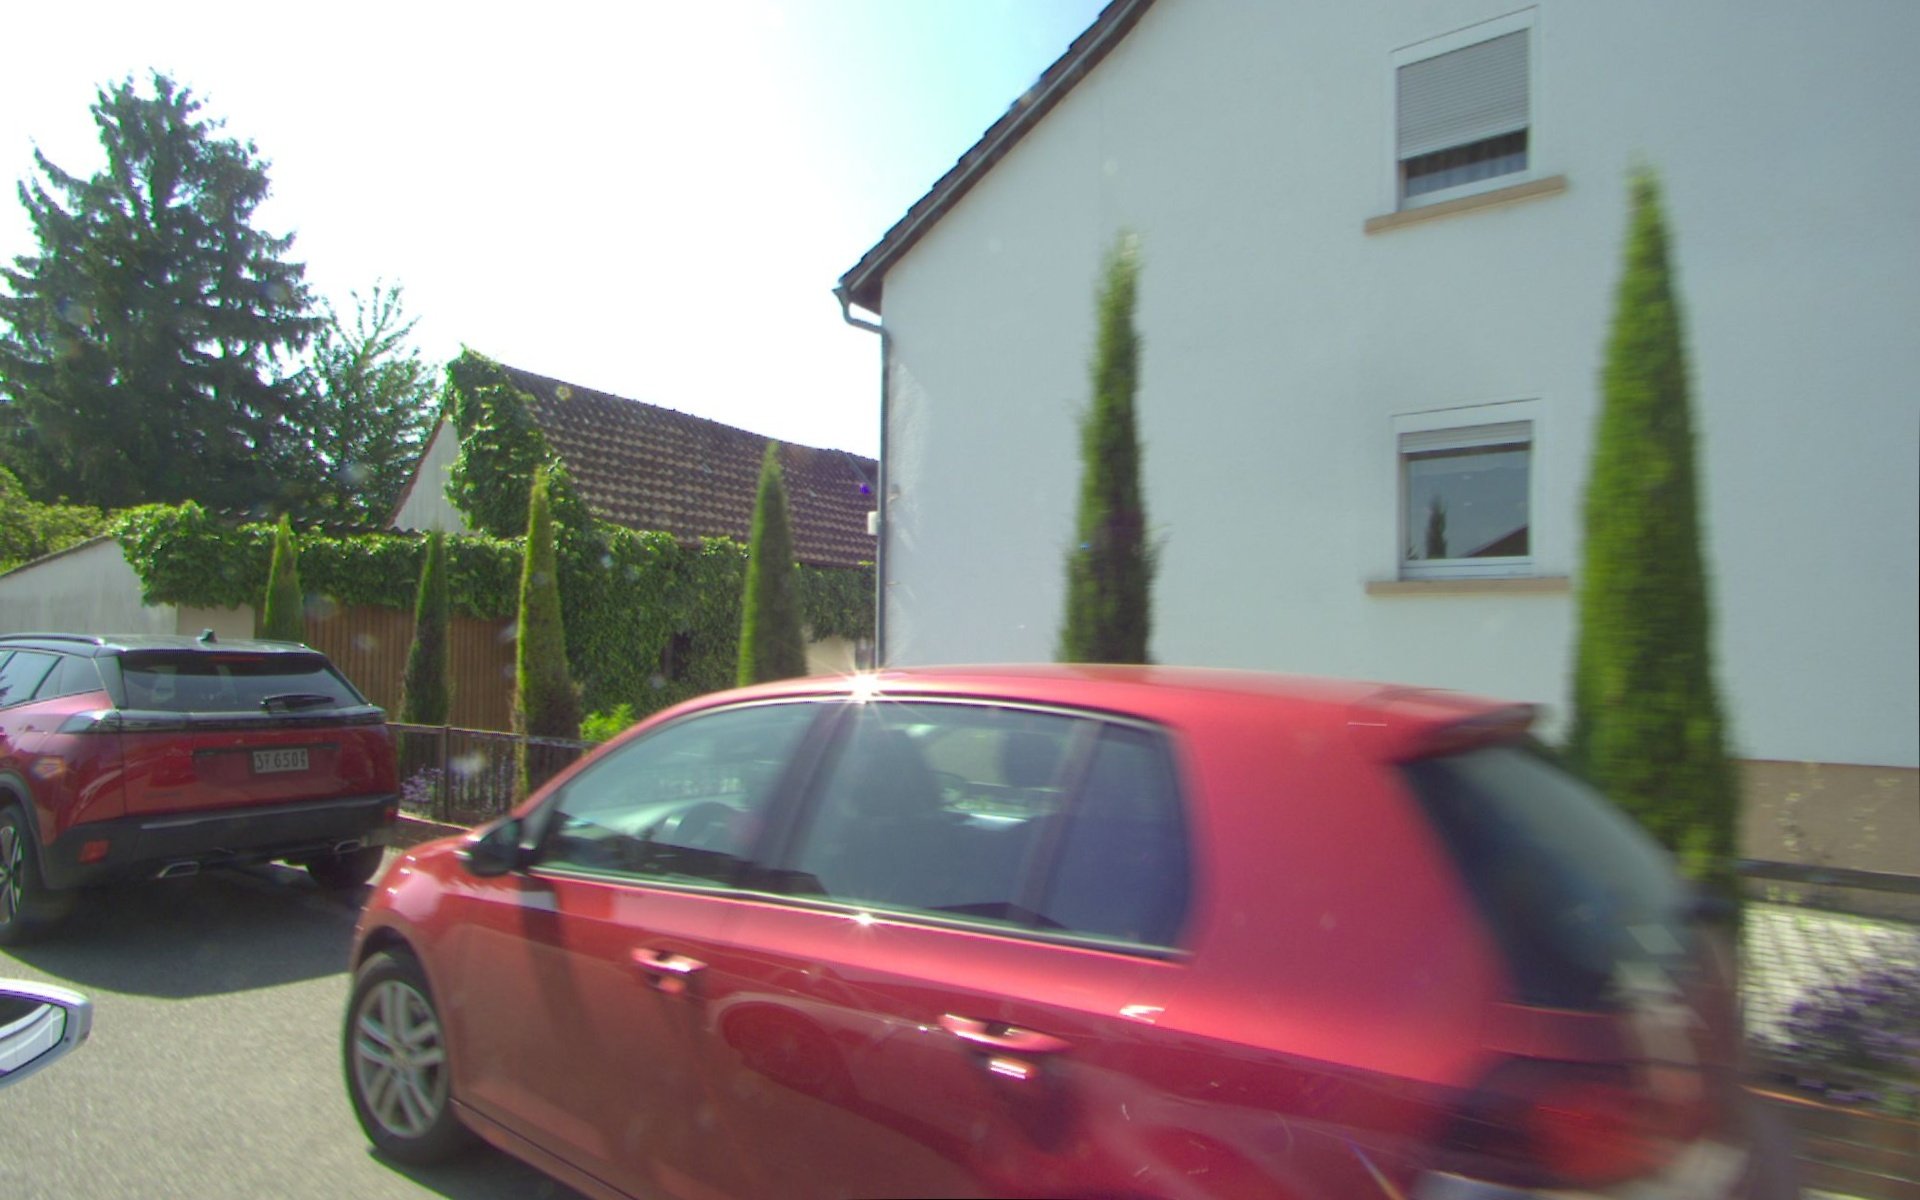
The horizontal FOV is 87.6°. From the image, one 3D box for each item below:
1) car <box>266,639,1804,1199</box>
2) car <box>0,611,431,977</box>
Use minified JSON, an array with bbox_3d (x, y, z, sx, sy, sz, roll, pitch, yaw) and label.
[{"bbox_3d":[-0.216,0.903,2.873,3.950,1.497,1.771,-2,-5,38],"label":"car"},{"bbox_3d":[-5.378,0.958,6.343,3.943,1.635,1.821,-1,-4,32],"label":"car"}]
